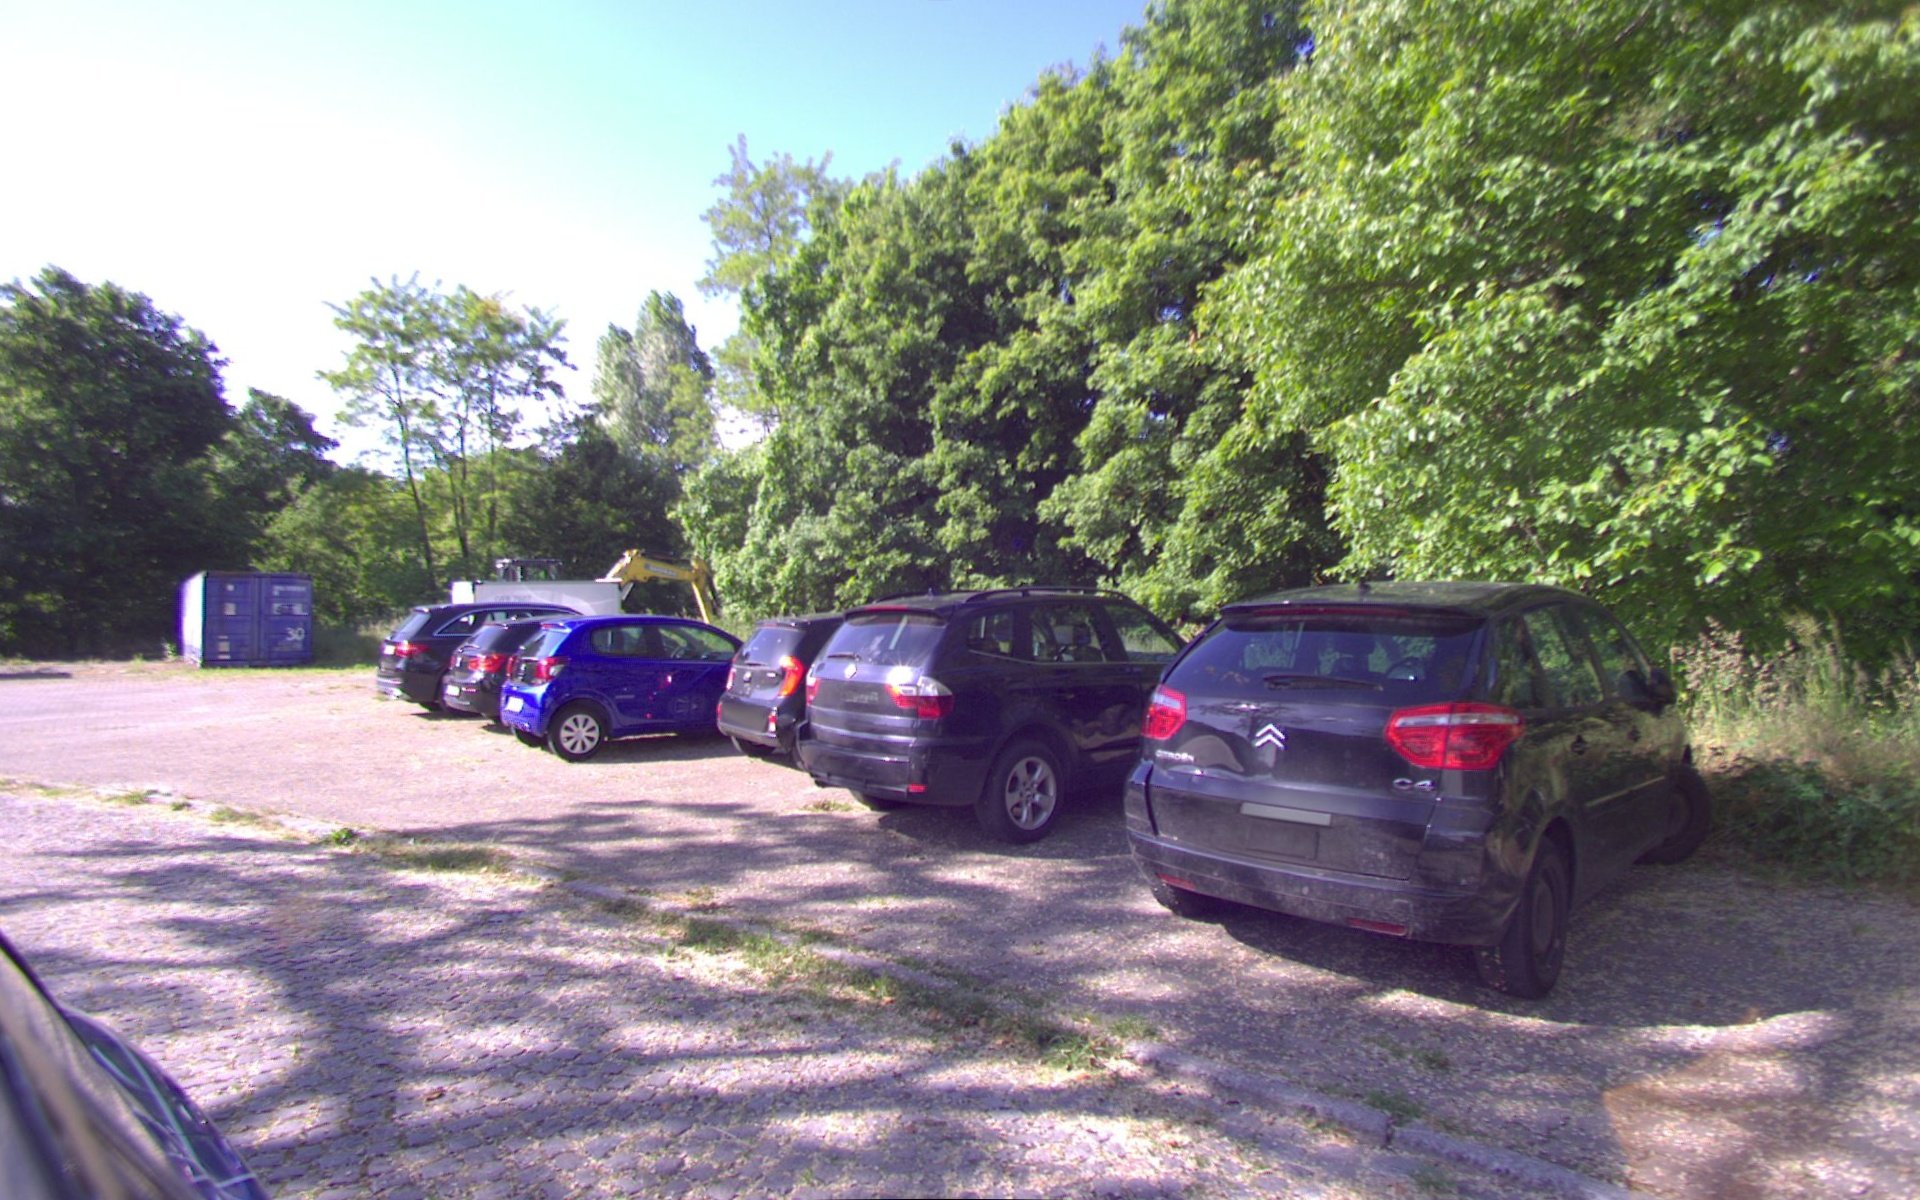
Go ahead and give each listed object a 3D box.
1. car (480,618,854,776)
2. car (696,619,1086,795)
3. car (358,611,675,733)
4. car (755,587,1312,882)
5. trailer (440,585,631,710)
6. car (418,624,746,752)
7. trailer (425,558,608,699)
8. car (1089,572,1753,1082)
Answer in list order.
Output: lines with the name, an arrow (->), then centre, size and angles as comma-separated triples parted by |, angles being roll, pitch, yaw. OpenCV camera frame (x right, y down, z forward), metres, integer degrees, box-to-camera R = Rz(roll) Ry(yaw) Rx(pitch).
car -> -3.279, 0.970, 11.623 | 3.729, 1.469, 1.789 | 0, -1, -39
car -> -0.656, 0.958, 10.504 | 3.662, 1.462, 1.749 | 0, -1, -34
car -> -6.693, 0.978, 15.487 | 4.066, 1.602, 1.974 | 0, -1, -40
car -> 0.750, 0.766, 7.908 | 4.206, 1.643, 1.884 | -2, 0, -40
trailer -> -7.671, 0.796, 18.329 | 2.804, 2.066, 1.828 | 0, -1, -38
car -> -5.006, 1.057, 13.623 | 3.730, 1.422, 1.898 | 0, -1, -40
trailer -> -8.880, 0.498, 20.269 | 2.805, 2.557, 2.270 | -3, 1, -38
car -> 2.753, 0.729, 5.452 | 4.210, 1.601, 1.831 | -3, 0, -45
